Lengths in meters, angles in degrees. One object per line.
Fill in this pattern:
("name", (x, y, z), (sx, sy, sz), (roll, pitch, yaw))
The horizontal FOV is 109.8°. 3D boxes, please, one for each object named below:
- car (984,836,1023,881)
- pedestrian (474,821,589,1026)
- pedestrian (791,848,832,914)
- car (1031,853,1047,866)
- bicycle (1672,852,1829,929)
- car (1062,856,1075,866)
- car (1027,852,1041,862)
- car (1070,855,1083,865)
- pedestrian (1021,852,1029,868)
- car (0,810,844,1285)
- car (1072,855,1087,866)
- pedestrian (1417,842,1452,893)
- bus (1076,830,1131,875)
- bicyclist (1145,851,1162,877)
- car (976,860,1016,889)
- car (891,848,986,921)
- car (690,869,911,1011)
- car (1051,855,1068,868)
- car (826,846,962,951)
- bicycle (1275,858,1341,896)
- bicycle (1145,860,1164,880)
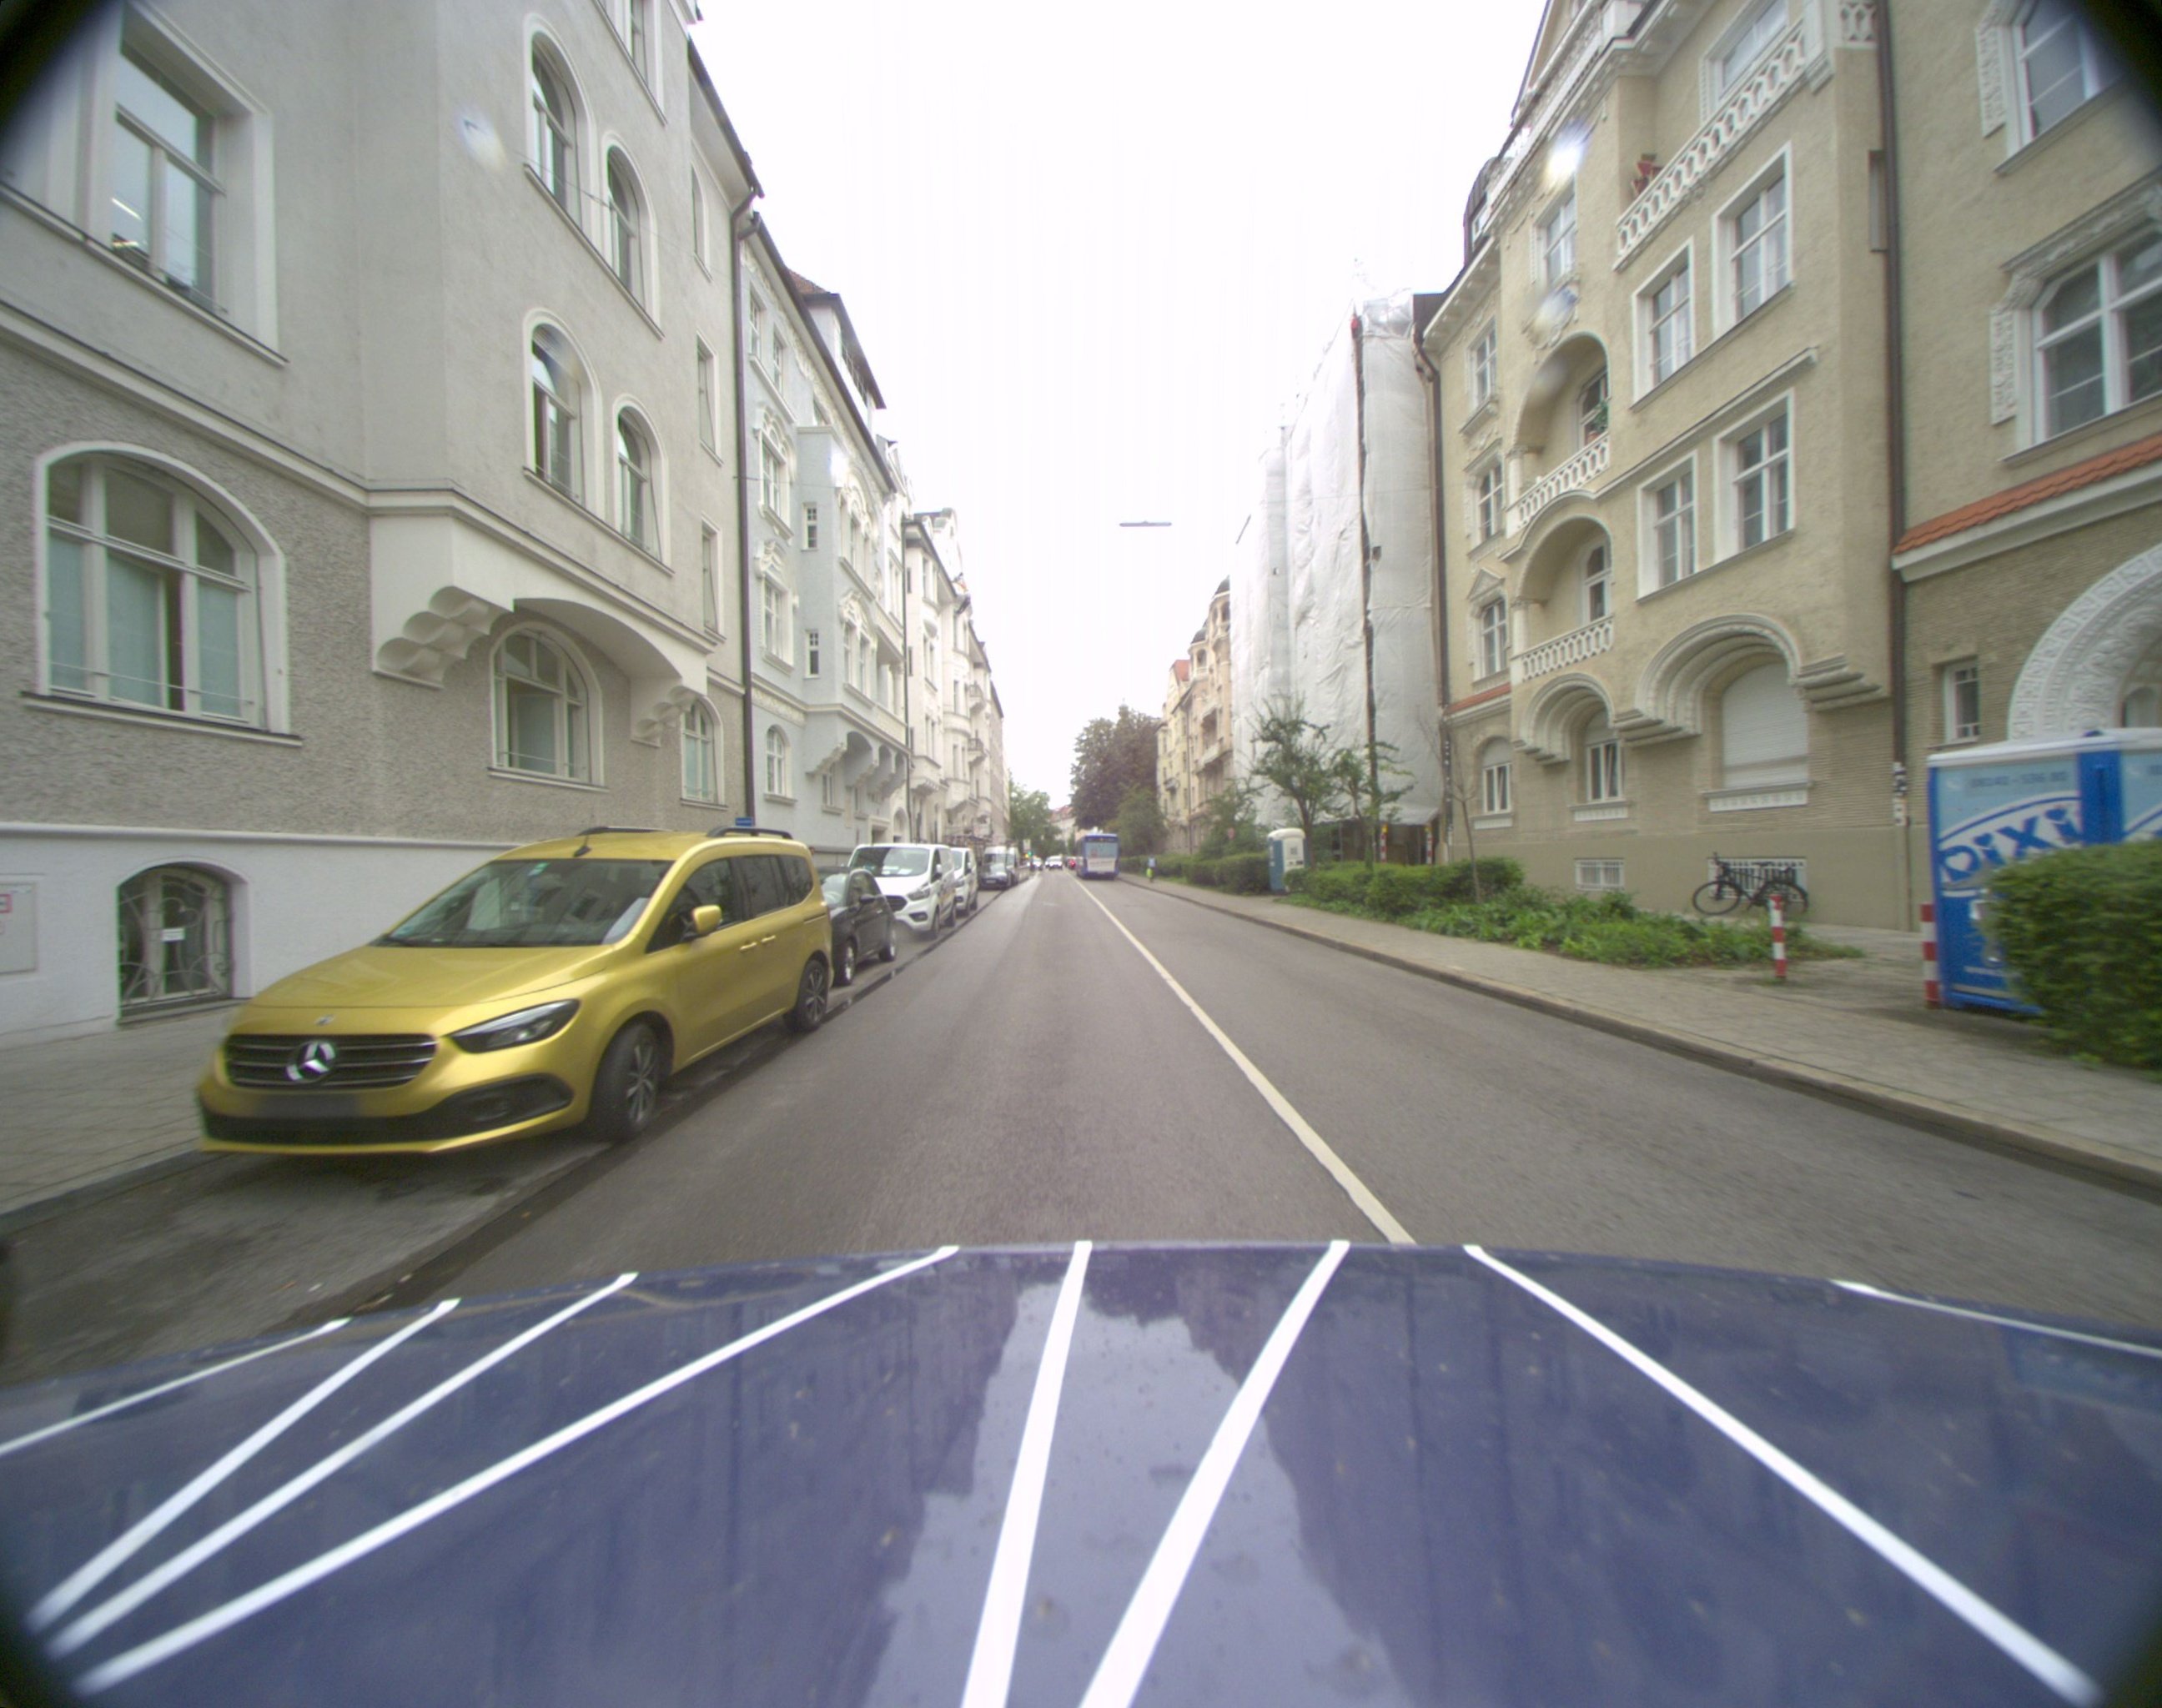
("car", (-4.810, 0.266, 47.760), (2.082, 2.673, 5.443), (0, 0, -2))
("pedestrian", (-5.621, 0.683, 7.807), (0.584, 2.002, 0.727), (-1, 0, 1))
("pedestrian", (-7.829, 0.775, 22.119), (0.854, 1.892, 0.746), (-1, 1, 2))
("car", (-5.497, 0.668, 100.609), (1.724, 1.622, 4.001), (-1, 0, 3))
("bicycle", (11.589, 0.594, 13.265), (0.823, 1.199, 2.077), (-3, 0, -2))
("car", (-1.952, 1.119, 120.691), (1.724, 1.398, 4.001), (-1, 0, 3))
("car", (-7.433, 0.439, 121.233), (1.724, 1.622, 4.001), (-1, 0, 3))
("car", (-0.650, 0.809, 111.351), (1.724, 1.398, 4.001), (-1, 0, 3))
("pedestrian", (-6.702, 0.677, 91.064), (0.826, 1.849, 0.820), (-2, 1, -3))
("car", (-3.470, 0.791, 5.364), (1.998, 1.907, 4.571), (-1, 0, 2))
("car", (-0.142, 0.863, 98.402), (1.724, 1.398, 4.001), (-1, 0, 3))
("pedestrian", (12.408, 0.473, 26.662), (0.771, 1.736, 0.773), (-3, 1, -3))
("bus", (1.529, -0.114, 62.444), (3.180, 3.193, 18.052), (0, 0, -3))
("bicyclist", (4.252, 0.592, 44.508), (0.770, 1.484, 1.060), (-3, 1, -3))
("car", (-4.586, 1.080, 41.475), (1.792, 1.399, 4.243), (-1, 0, -1))
("car", (-4.102, 0.823, 22.749), (1.999, 1.907, 4.877), (-1, 0, -1))
("car", (-3.658, 1.030, 10.682), (1.637, 1.505, 3.885), (-2, 0, 0))
("car", (-2.870, 0.947, 100.995), (1.919, 1.648, 4.602), (-1, 0, 1))
("car", (-3.846, 0.816, 16.526), (1.999, 1.907, 4.884), (-1, 0, -4))
("bicycle", (7.460, 0.757, 25.022), (1.864, 1.071, 0.690), (-6, 0, 0))
("bicycle", (4.276, 0.922, 44.536), (0.770, 1.075, 2.049), (-3, 0, -3))
